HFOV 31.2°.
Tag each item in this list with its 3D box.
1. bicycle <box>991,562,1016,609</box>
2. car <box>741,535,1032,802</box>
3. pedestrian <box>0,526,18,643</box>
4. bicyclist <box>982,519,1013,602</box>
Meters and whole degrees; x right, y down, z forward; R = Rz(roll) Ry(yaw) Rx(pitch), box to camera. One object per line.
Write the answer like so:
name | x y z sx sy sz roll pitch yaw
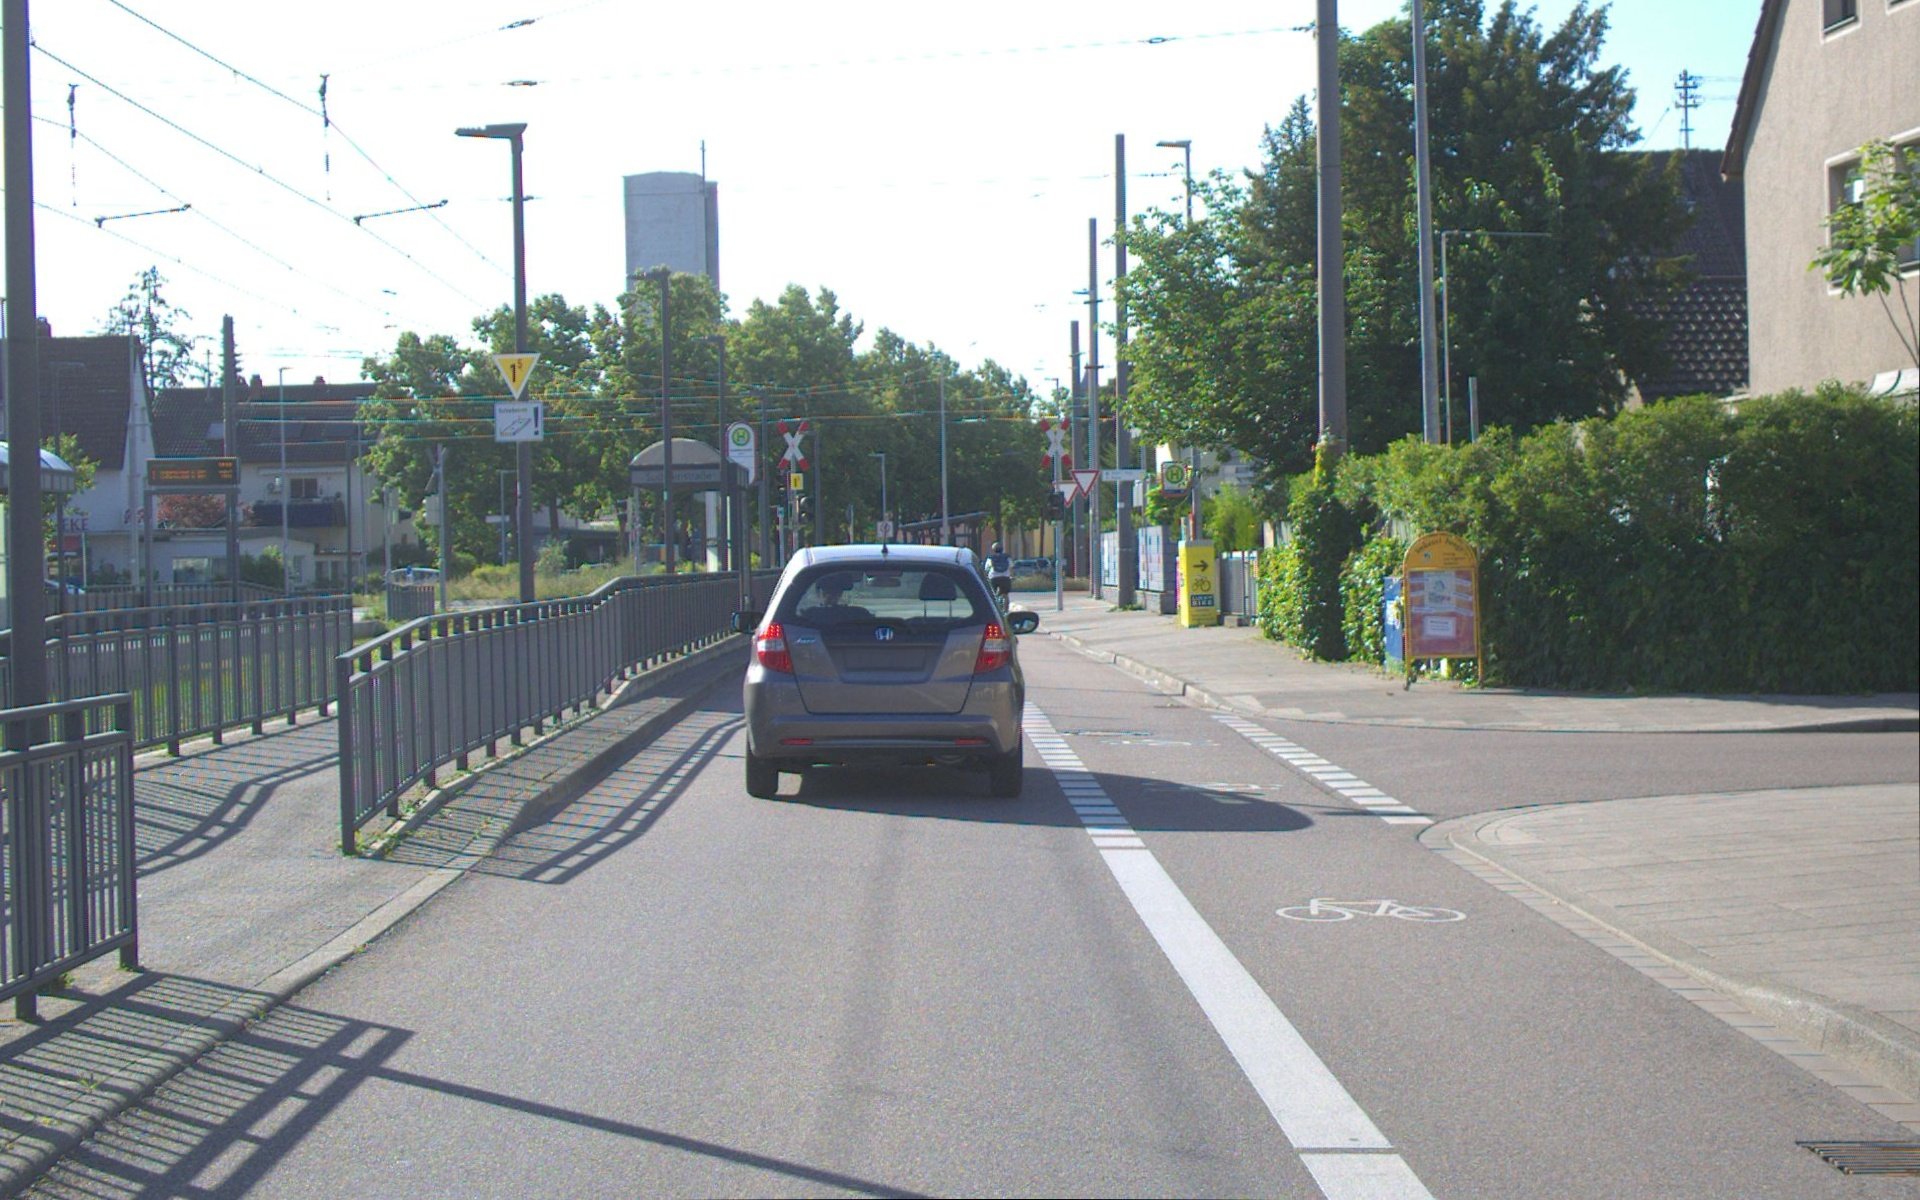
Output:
bicycle | 0.901 -0.296 70.785 0.475 0.958 1.657 0 0 0
car | -0.470 0.381 21.656 1.670 1.530 3.487 0 1 -1
pedestrian | -14.097 -0.215 49.934 0.500 1.690 0.771 -3 1 0
bicyclist | 0.768 -0.807 70.459 0.598 1.695 0.683 0 0 0
